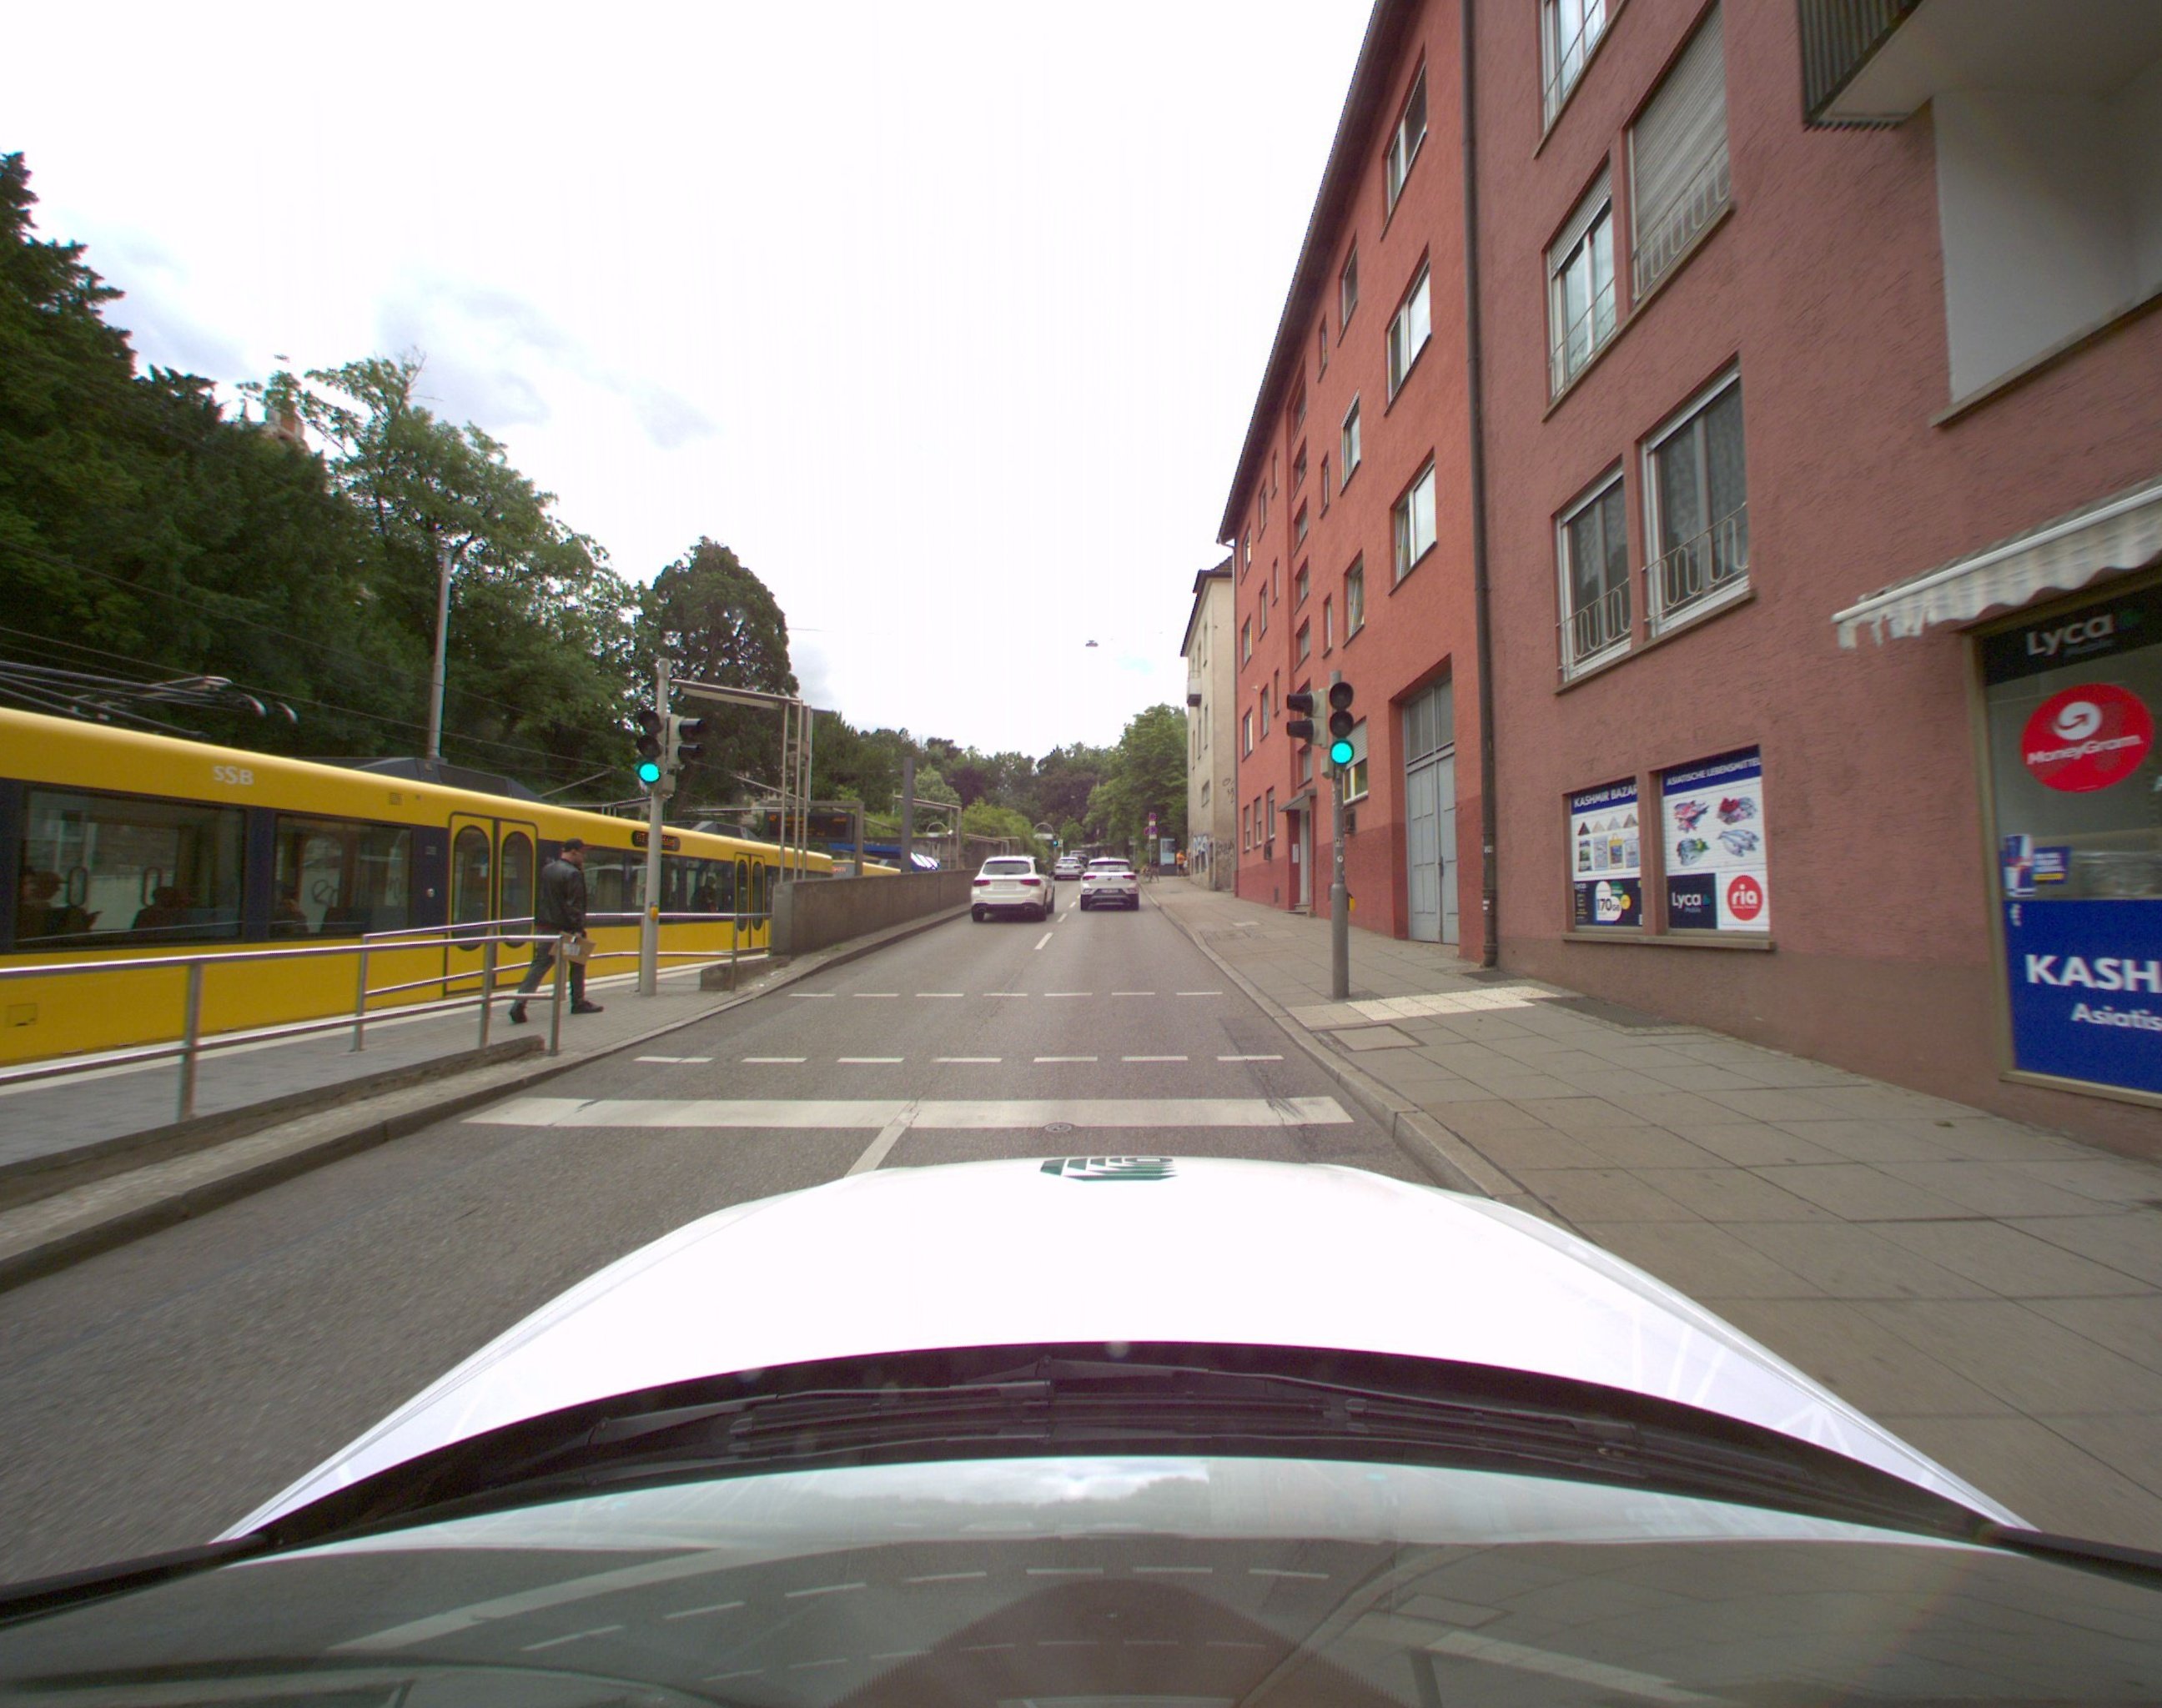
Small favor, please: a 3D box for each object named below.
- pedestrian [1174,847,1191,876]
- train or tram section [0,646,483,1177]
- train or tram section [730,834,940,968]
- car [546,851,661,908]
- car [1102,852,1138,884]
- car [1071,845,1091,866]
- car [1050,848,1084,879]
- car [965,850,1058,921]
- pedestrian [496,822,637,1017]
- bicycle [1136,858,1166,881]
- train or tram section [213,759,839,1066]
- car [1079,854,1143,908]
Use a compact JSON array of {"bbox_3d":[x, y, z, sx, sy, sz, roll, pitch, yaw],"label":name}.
[{"bbox_3d":[6.290,0.463,50.464,0.833,1.712,0.818,-1,-1,-12],"label":"pedestrian"},{"bbox_3d":[-8.631,0.238,3.237,2.938,3.472,12.221,0,-4,2],"label":"train or tram section"},{"bbox_3d":[-7.615,1.460,28.005,2.938,3.509,12.988,-1,-2,2],"label":"train or tram section"},{"bbox_3d":[-18.484,0.964,31.752,1.987,2.014,3.999,2,-1,0],"label":"car"},{"bbox_3d":[2.082,0.713,43.612,1.853,1.632,3.961,0,-1,2],"label":"car"},{"bbox_3d":[0.037,0.174,77.600,1.743,1.882,4.001,1,0,2],"label":"car"},{"bbox_3d":[-0.855,0.599,52.470,1.986,1.882,4.001,1,0,2],"label":"car"},{"bbox_3d":[-1.726,0.779,21.749,1.869,1.652,4.344,-2,0,3],"label":"car"},{"bbox_3d":[-4.955,0.604,7.896,0.797,1.777,0.819,0,-1,2],"label":"pedestrian"},{"bbox_3d":[3.707,0.826,43.280,0.641,1.143,2.049,-1,-1,-23],"label":"bicycle"},{"bbox_3d":[-8.129,0.937,15.398,2.938,3.484,12.222,0,-3,2],"label":"train or tram section"},{"bbox_3d":[0.979,0.804,25.517,1.857,1.556,3.898,0,-1,3],"label":"car"}]
